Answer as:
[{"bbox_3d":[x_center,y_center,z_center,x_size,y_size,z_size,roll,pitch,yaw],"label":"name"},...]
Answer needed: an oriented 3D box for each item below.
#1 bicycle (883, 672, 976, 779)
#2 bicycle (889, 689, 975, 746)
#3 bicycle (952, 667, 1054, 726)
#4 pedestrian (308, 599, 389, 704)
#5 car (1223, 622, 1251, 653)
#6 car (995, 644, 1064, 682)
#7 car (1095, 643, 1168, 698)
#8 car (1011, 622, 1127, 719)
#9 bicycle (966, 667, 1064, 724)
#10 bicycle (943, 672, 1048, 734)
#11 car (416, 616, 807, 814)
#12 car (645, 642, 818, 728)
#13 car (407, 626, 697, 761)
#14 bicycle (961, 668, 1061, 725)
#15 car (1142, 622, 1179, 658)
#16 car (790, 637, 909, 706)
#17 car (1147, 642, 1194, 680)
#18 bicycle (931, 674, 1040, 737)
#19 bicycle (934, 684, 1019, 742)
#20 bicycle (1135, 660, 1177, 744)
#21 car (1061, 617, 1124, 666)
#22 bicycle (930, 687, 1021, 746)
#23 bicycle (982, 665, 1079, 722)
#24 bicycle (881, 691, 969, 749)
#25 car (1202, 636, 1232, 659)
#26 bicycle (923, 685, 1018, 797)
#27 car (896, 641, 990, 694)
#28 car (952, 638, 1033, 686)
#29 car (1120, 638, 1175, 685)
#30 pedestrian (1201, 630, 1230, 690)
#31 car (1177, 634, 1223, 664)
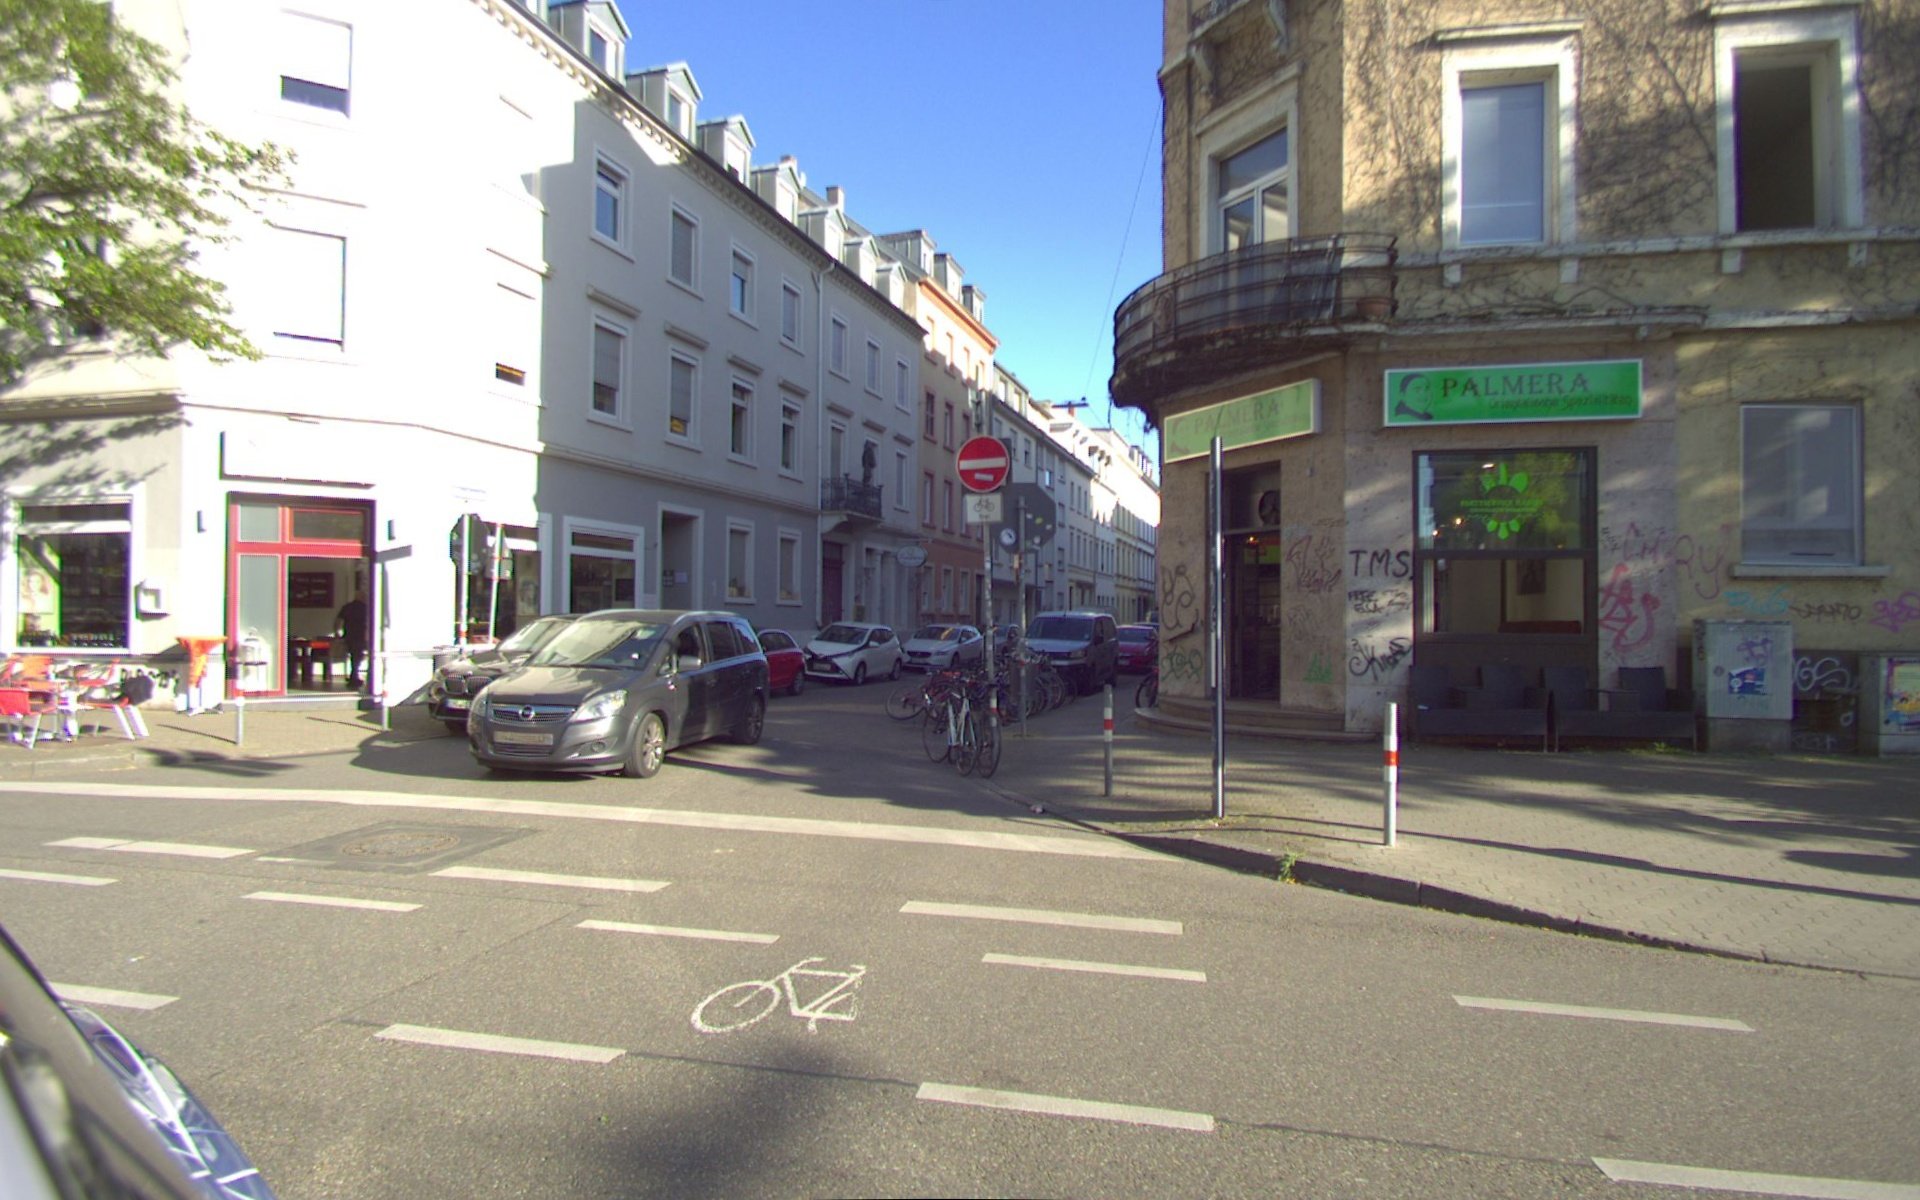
[{"bbox_3d":[-0.363,1.302,10.911,0.450,1.054,1.693,1,-4,-21],"label":"bicycle"},{"bbox_3d":[-0.441,1.830,15.835,1.298,0.824,0.354,0,-2,10],"label":"bicycle"},{"bbox_3d":[0.758,1.686,17.880,1.756,0.969,0.440,0,-2,18],"label":"bicycle"},{"bbox_3d":[-10.873,0.907,18.029,0.854,1.813,0.849,0,-2,8],"label":"pedestrian"},{"bbox_3d":[24.284,3.292,88.583,2.078,2.611,5.808,0,-2,18],"label":"car"},{"bbox_3d":[2.907,2.552,41.460,1.758,1.405,4.468,-2,-3,18],"label":"car"},{"bbox_3d":[5.419,2.134,31.592,1.670,1.484,4.179,2,-1,17],"label":"car"},{"bbox_3d":[2.655,1.554,23.575,1.671,1.924,4.490,3,-1,19],"label":"car"},{"bbox_3d":[1.015,1.748,18.679,1.756,0.969,0.403,0,-2,18],"label":"bicycle"},{"bbox_3d":[0.606,1.729,17.084,1.749,0.969,0.480,0,-2,8],"label":"bicycle"},{"bbox_3d":[-3.443,1.095,11.319,1.781,1.675,5.165,-2,-3,11],"label":"car"},{"bbox_3d":[-4.394,1.607,20.059,1.636,1.514,3.932,-2,-3,17],"label":"car"},{"bbox_3d":[-5.756,1.269,14.907,1.751,1.675,4.173,-2,-3,17],"label":"car"},{"bbox_3d":[0.918,1.727,18.274,1.756,0.969,0.419,0,-2,18],"label":"bicycle"},{"bbox_3d":[15.992,3.156,80.471,2.035,2.698,6.146,-2,-3,19],"label":"car"},{"bbox_3d":[-2.701,1.756,25.531,1.628,1.599,3.767,-2,-3,17],"label":"car"},{"bbox_3d":[8.890,2.518,42.544,1.670,1.504,3.592,0,-2,16],"label":"car"},{"bbox_3d":[0.425,1.731,16.679,1.752,0.969,0.426,0,-2,12],"label":"bicycle"},{"bbox_3d":[0.269,1.824,16.406,1.298,0.824,0.380,2,-2,10],"label":"bicycle"},{"bbox_3d":[2.874,1.461,14.781,0.396,1.100,1.581,0,-2,18],"label":"bicycle"},{"bbox_3d":[7.358,2.257,55.637,2.037,2.532,5.981,-2,-3,21],"label":"car"},{"bbox_3d":[0.254,1.834,16.055,1.376,0.824,0.360,2,-2,10],"label":"bicycle"},{"bbox_3d":[1.330,1.740,19.058,1.756,0.996,0.460,0,-2,19],"label":"bicycle"},{"bbox_3d":[-0.526,1.826,15.460,1.298,0.824,0.370,0,-2,10],"label":"bicycle"},{"bbox_3d":[16.983,3.135,66.828,1.671,1.468,3.835,0,-2,19],"label":"car"},{"bbox_3d":[0.082,1.492,11.046,0.443,1.054,1.669,1,-3,-21],"label":"bicycle"},{"bbox_3d":[-0.461,2.074,31.603,1.671,1.522,4.165,-2,-3,18],"label":"car"},{"bbox_3d":[1.246,2.225,37.000,1.672,1.609,4.160,-2,-3,21],"label":"car"},{"bbox_3d":[6.721,2.163,36.109,1.669,1.561,2.945,1,-2,15],"label":"car"},{"bbox_3d":[8.004,1.870,31.649,0.785,1.845,0.590,-2,-3,19],"label":"pedestrian"},{"bbox_3d":[12.304,2.493,51.756,1.674,1.474,3.830,0,-2,23],"label":"car"}]
